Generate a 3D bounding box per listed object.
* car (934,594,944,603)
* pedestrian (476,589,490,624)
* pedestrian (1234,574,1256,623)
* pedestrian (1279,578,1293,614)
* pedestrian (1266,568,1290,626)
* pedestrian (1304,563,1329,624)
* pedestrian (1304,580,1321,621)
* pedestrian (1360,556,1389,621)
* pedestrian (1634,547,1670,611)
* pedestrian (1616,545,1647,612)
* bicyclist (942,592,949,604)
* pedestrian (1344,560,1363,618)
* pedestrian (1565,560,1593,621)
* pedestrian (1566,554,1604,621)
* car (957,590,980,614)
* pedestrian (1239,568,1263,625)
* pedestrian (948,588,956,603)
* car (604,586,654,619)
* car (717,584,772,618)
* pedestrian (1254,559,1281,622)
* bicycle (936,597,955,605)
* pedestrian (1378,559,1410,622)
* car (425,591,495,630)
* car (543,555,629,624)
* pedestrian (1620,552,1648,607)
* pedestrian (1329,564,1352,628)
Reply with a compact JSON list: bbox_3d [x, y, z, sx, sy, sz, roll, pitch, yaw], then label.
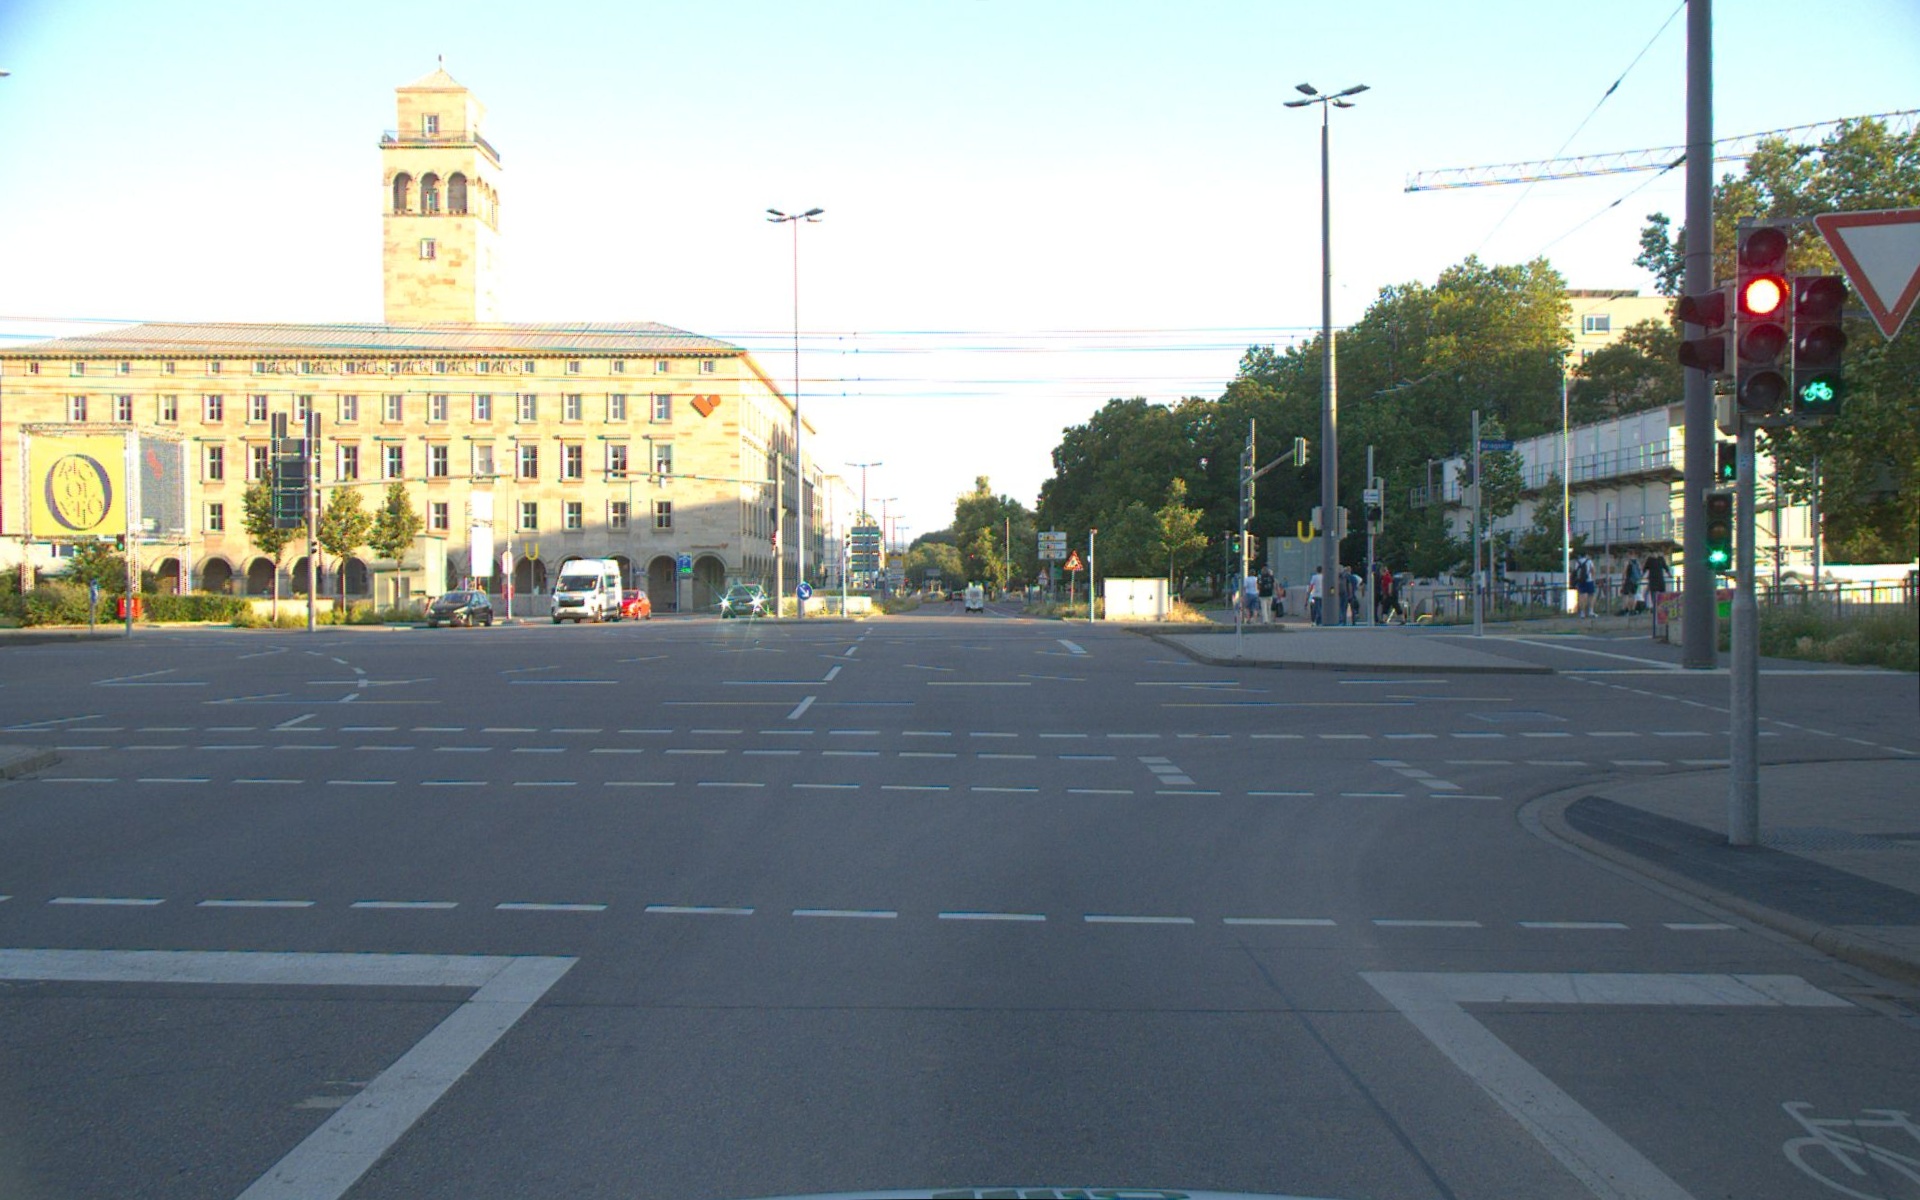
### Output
[{"bbox_3d":[-2.993,-0.248,235.105,1.342,1.255,3.044,-1,1,-3],"label":"car"},{"bbox_3d":[-24.257,0.343,84.103,0.609,1.774,0.459,1,-1,-6],"label":"pedestrian"},{"bbox_3d":[10.470,-0.070,60.757,0.665,1.788,0.902,0,1,20],"label":"pedestrian"},{"bbox_3d":[17.164,-0.209,87.115,0.652,1.874,0.713,0,1,4],"label":"pedestrian"},{"bbox_3d":[9.878,-0.098,51.312,0.695,1.755,0.669,0,1,13],"label":"pedestrian"},{"bbox_3d":[10.498,-0.194,48.694,0.695,1.755,0.916,0,1,13],"label":"pedestrian"},{"bbox_3d":[12.721,0.016,59.678,0.560,1.463,0.639,0,1,11],"label":"pedestrian"},{"bbox_3d":[11.830,-0.331,47.254,0.788,1.822,0.801,0,1,13],"label":"pedestrian"},{"bbox_3d":[19.086,-0.573,45.602,0.696,1.755,0.668,0,1,-2],"label":"pedestrian"},{"bbox_3d":[17.684,-0.564,43.561,0.696,1.755,0.669,0,1,16],"label":"pedestrian"},{"bbox_3d":[-1.967,-0.286,221.586,0.818,1.489,0.657,-1,1,-19],"label":"bicyclist"},{"bbox_3d":[11.658,-0.334,49.016,0.560,1.708,0.639,0,1,13],"label":"pedestrian"},{"bbox_3d":[16.838,-0.262,44.984,0.559,1.620,0.536,-1,0,-1],"label":"pedestrian"},{"bbox_3d":[16.551,-0.340,43.769,0.661,1.755,0.703,-1,1,-38],"label":"pedestrian"},{"bbox_3d":[0.596,0.133,118.649,1.454,1.725,2.972,-1,1,-4],"label":"car"},{"bbox_3d":[9.070,-0.111,51.517,0.695,1.755,0.669,0,1,13],"label":"pedestrian"},{"bbox_3d":[-0.891,-0.548,194.461,0.888,1.700,1.306,-1,1,-2],"label":"pedestrian"},{"bbox_3d":[-16.137,0.112,80.834,1.703,1.513,4.000,-1,1,-1],"label":"car"},{"bbox_3d":[-9.398,0.025,72.353,1.785,1.365,4.001,0,1,1],"label":"car"},{"bbox_3d":[8.657,-0.260,46.585,0.695,1.755,0.916,0,1,13],"label":"pedestrian"},{"bbox_3d":[-1.971,0.123,221.567,2.563,0.975,0.511,1,-1,-20],"label":"bicycle"},{"bbox_3d":[12.201,-0.272,46.519,0.826,1.764,0.706,0,1,12],"label":"pedestrian"},{"bbox_3d":[-21.071,0.420,69.828,1.786,1.491,4.156,-1,1,-2],"label":"car"},{"bbox_3d":[-16.255,-0.482,72.186,2.232,2.824,6.085,-1,1,1],"label":"car"},{"bbox_3d":[18.069,-0.545,44.337,0.662,1.466,0.714,0,0,21],"label":"pedestrian"},{"bbox_3d":[10.935,-0.129,47.541,0.560,1.822,0.639,0,1,23],"label":"pedestrian"}]
